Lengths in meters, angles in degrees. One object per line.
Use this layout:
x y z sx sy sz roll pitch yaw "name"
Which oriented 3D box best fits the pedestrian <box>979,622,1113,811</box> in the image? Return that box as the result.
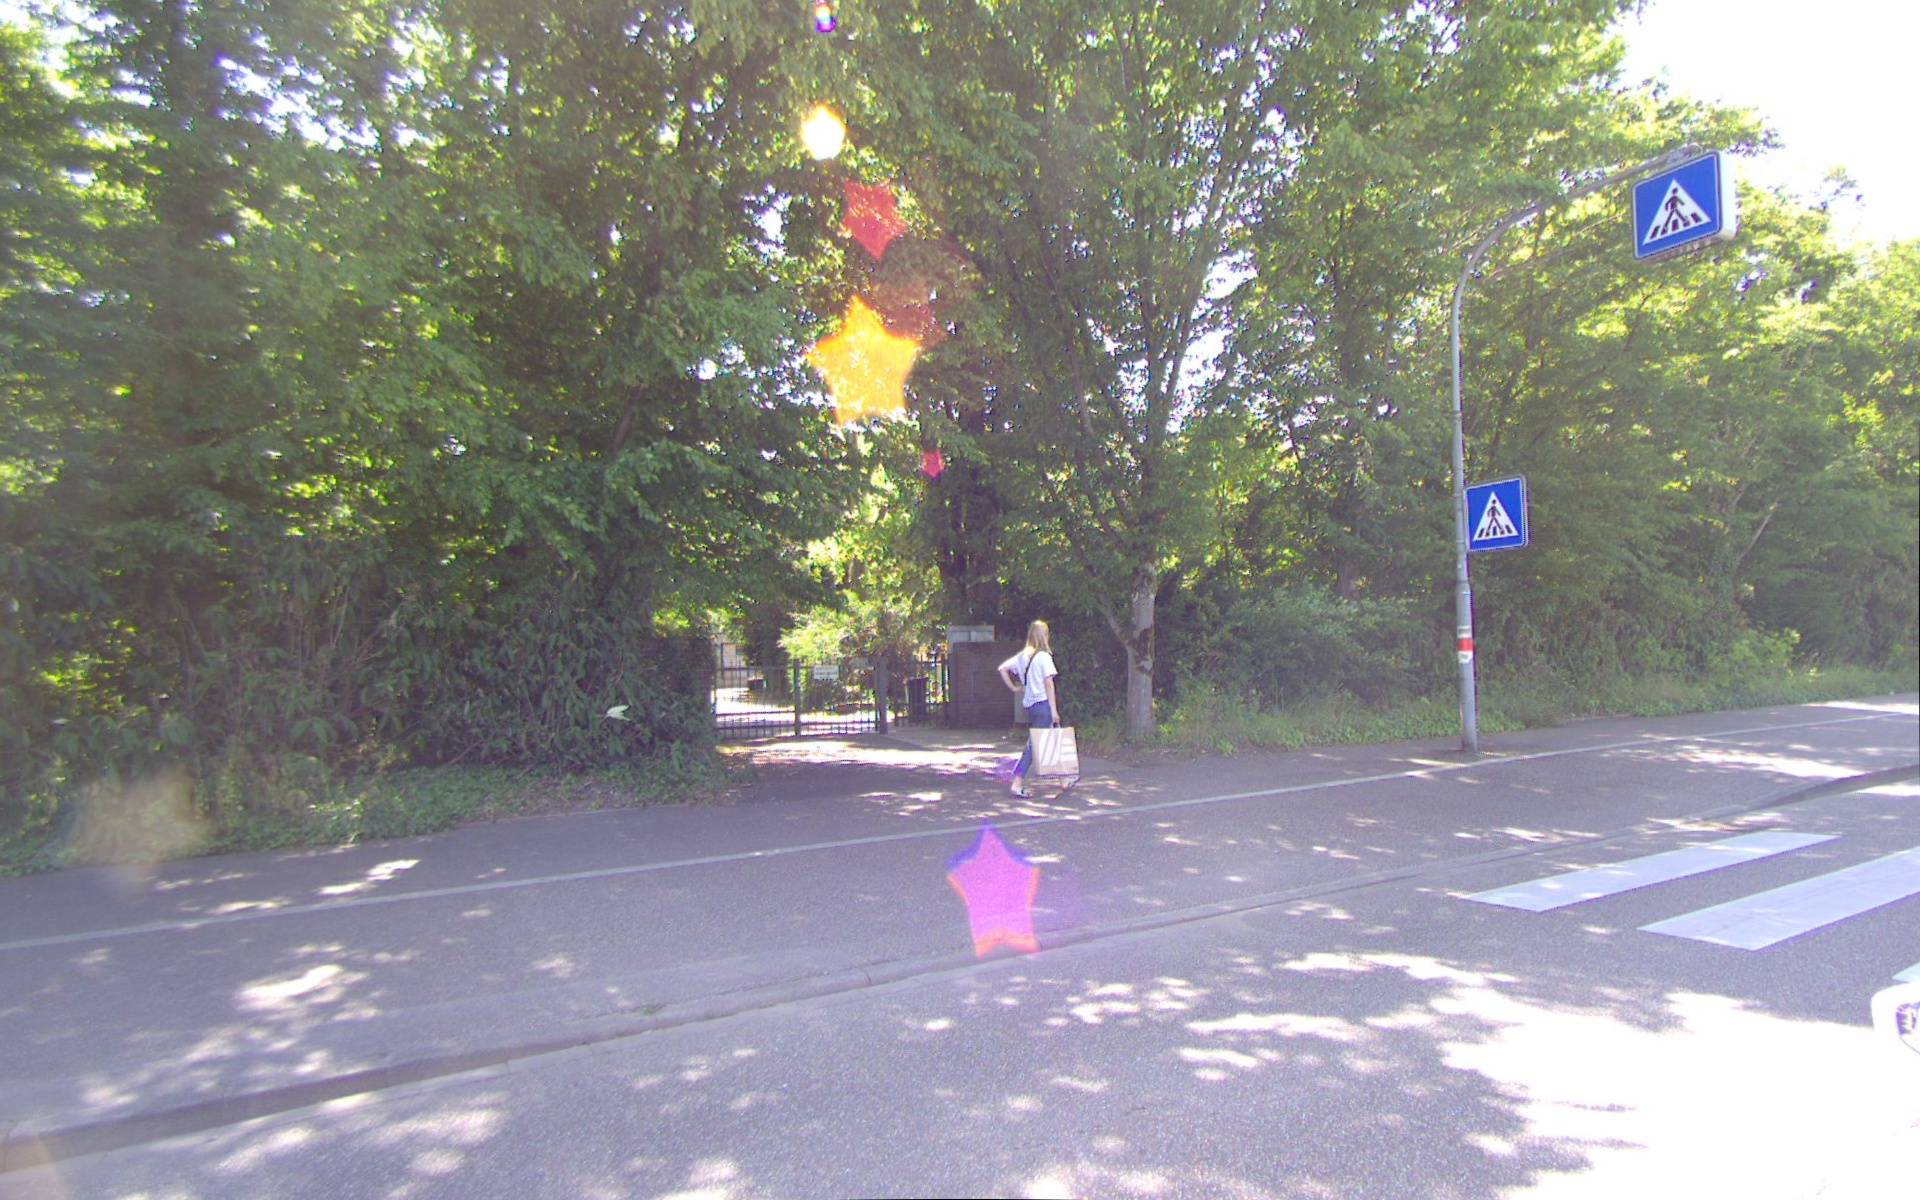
0.790 1.030 9.367 0.875 1.634 0.928 0 -1 -30 "pedestrian"
